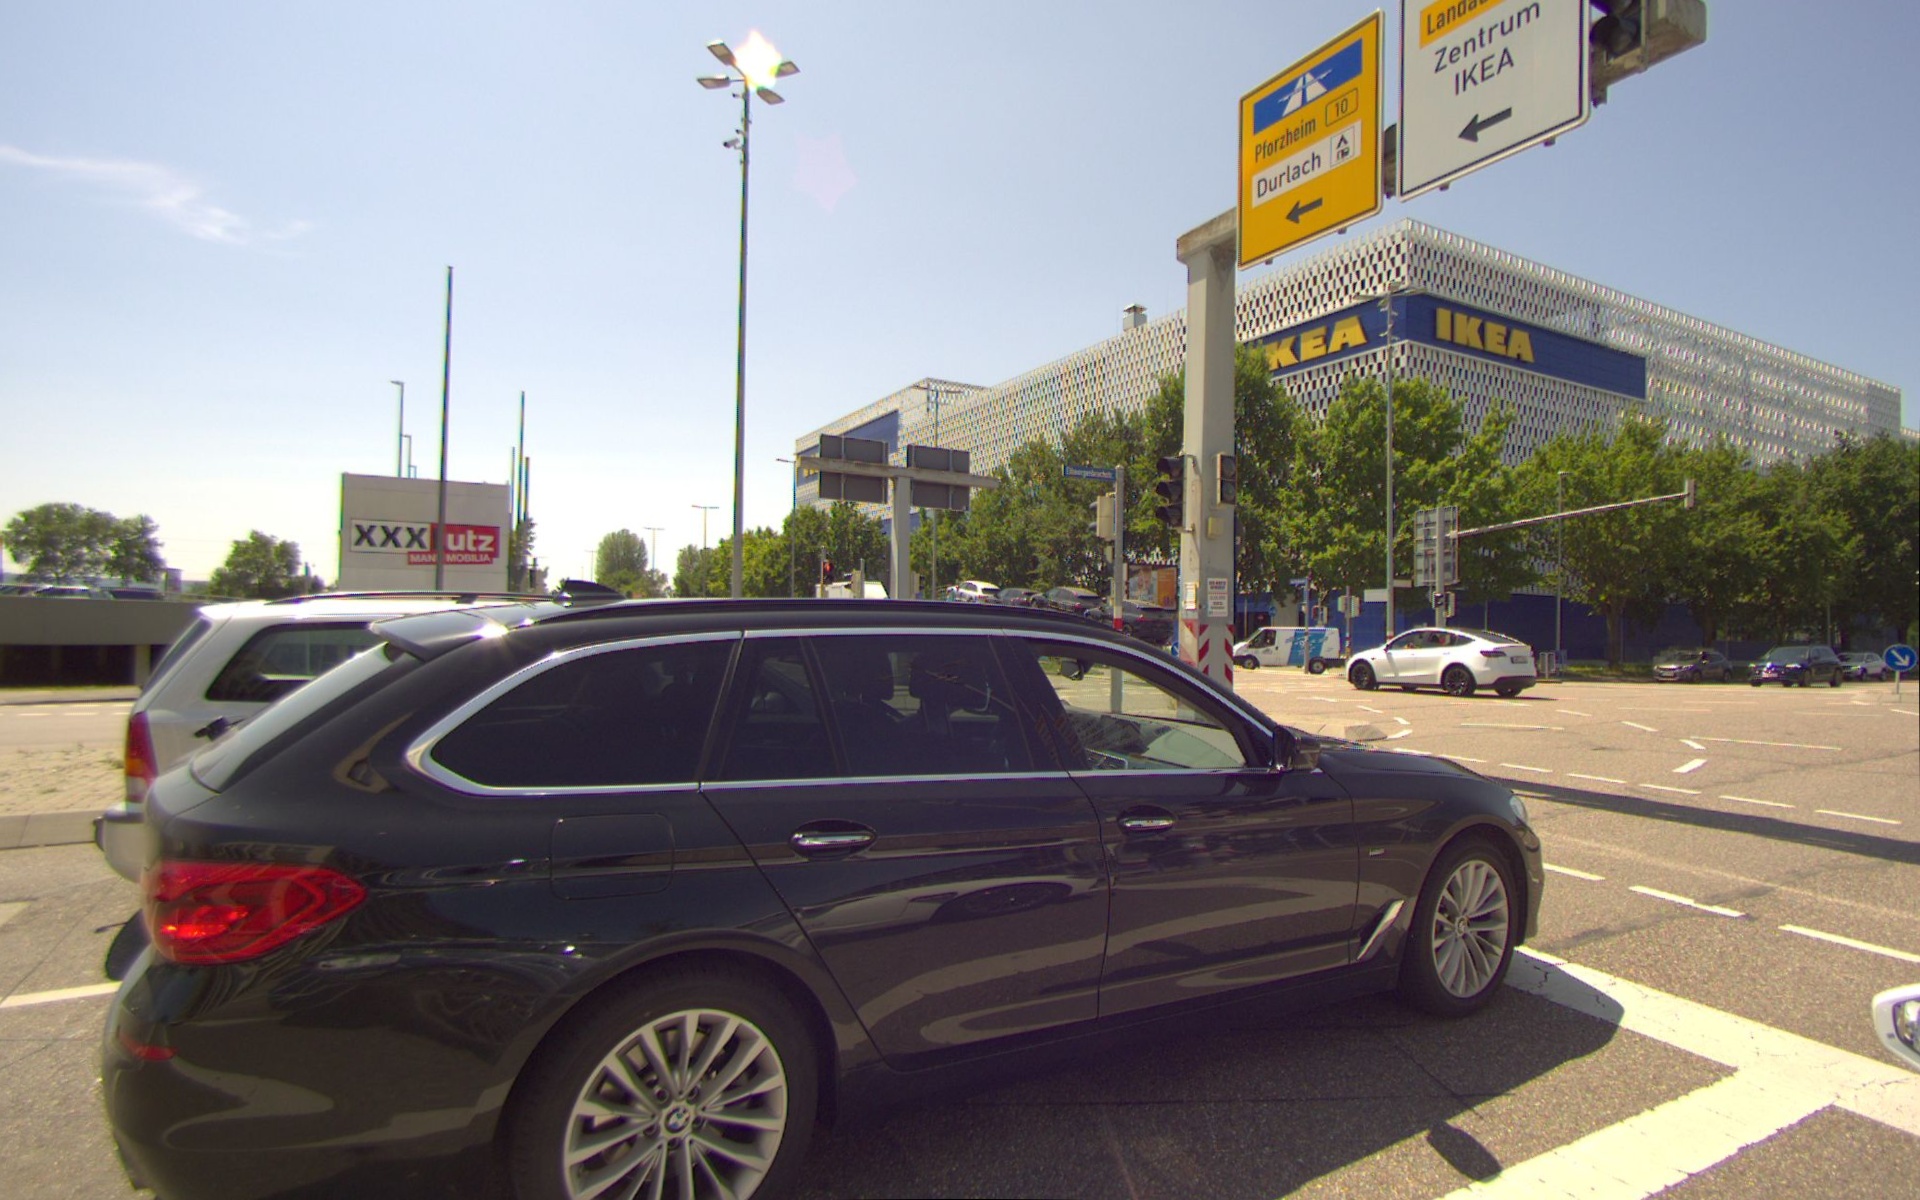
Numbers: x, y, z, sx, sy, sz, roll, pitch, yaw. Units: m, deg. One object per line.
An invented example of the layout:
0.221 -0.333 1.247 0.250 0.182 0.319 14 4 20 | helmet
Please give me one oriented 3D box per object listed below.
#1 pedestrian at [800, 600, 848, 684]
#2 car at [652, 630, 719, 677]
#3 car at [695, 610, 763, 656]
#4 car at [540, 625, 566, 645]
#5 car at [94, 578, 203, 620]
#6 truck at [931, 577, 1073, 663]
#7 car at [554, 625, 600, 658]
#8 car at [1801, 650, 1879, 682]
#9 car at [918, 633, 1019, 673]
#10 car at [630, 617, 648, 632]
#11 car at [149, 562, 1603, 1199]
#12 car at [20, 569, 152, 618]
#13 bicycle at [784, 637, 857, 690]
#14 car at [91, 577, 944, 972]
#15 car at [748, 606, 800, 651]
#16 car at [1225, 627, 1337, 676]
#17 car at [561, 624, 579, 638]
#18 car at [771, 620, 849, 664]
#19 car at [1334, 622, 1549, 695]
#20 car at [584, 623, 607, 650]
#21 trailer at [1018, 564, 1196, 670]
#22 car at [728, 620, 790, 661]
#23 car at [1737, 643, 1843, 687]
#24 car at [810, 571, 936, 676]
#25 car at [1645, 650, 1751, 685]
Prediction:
-3.385 1.032 24.932 0.856 2.040 0.899 1 -2 -35 | pedestrian
-9.571 1.815 34.832 1.904 1.528 3.982 1 -2 -20 | car
-13.868 1.953 60.017 2.542 2.568 6.587 2 -2 -26 | car
-36.526 3.136 90.136 1.718 1.708 3.642 2 -2 -28 | car
-40.517 -0.024 50.276 3.956 1.933 1.983 2 -2 -32 | car
1.967 1.179 53.544 3.058 4.136 10.589 2 -3 -25 | truck
-24.057 2.582 63.046 1.815 2.040 3.963 2 -2 -34 | car
48.806 3.673 55.688 4.037 1.687 1.920 2 -3 -28 | car
0.234 1.882 36.655 1.756 1.360 4.262 1 -2 -30 | car
-44.883 3.466 140.472 1.971 2.040 3.979 2 -2 -22 | car
0.170 0.732 3.619 4.570 1.485 1.791 1 -1 -31 | car
-37.750 -0.237 43.528 3.953 1.957 1.984 2 -2 -30 | car
-3.502 1.558 25.080 0.987 1.229 2.079 2 -2 -35 | bicycle
-2.221 0.724 5.750 3.961 1.514 1.785 2 -1 -36 | car
-11.567 1.773 62.136 2.032 2.665 4.652 0 -2 -26 | car
14.291 2.280 45.002 4.668 2.034 2.001 0 -2 14 | car
-57.220 4.544 147.341 1.906 2.040 3.971 2 -2 -28 | car
-6.799 1.852 45.007 1.973 1.835 5.438 1 -2 -25 | car
11.703 1.424 24.801 1.972 1.609 4.669 2 -3 -24 | car
-27.670 2.751 76.328 1.594 2.040 3.863 1 -2 -20 | car
6.153 0.856 44.354 3.053 4.135 9.586 2 -3 -25 | trailer
-10.639 2.139 52.979 1.975 2.040 4.681 2 -2 -27 | car
32.984 2.573 39.905 4.444 1.619 1.866 2 -3 -30 | car
-3.400 0.861 37.535 2.156 3.532 6.875 0 -1 -28 | car
34.135 3.116 46.526 3.682 1.553 1.775 0 -2 -5 | car
